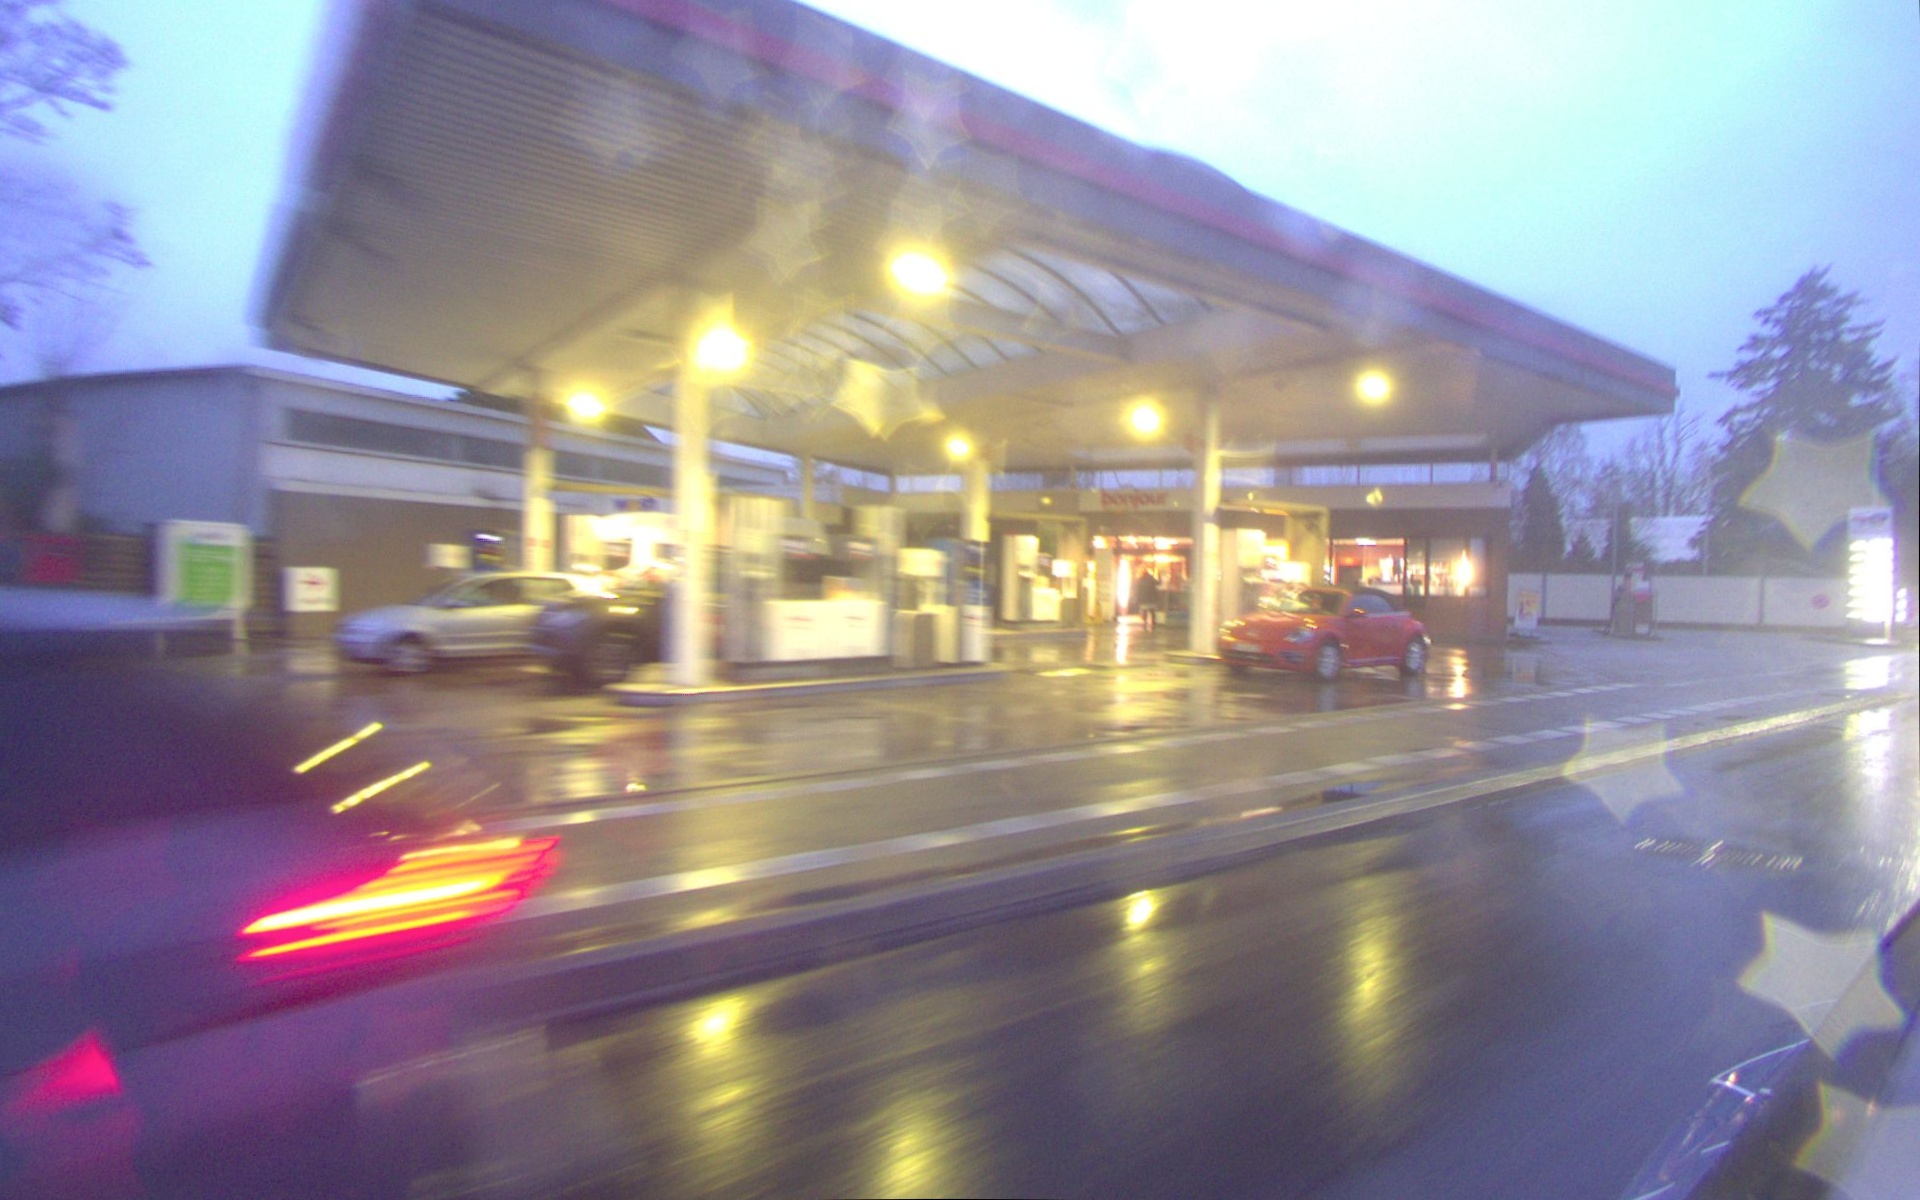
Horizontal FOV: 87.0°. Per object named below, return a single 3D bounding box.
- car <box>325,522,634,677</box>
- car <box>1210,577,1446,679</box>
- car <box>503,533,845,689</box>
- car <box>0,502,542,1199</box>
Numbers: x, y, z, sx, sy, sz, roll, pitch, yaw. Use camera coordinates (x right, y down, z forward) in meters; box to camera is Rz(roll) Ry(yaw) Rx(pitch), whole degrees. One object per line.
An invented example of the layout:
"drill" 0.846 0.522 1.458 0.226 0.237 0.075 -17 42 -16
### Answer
"car" -7.204 -0.049 15.279 3.926 2.039 2.000 0 1 -37
"car" 6.013 0.378 16.366 4.091 1.413 1.578 0 3 -37
"car" -3.962 0.069 14.276 4.218 1.882 2.000 0 3 -37
"car" -2.520 0.685 0.638 3.931 1.548 1.570 0 1 -36
